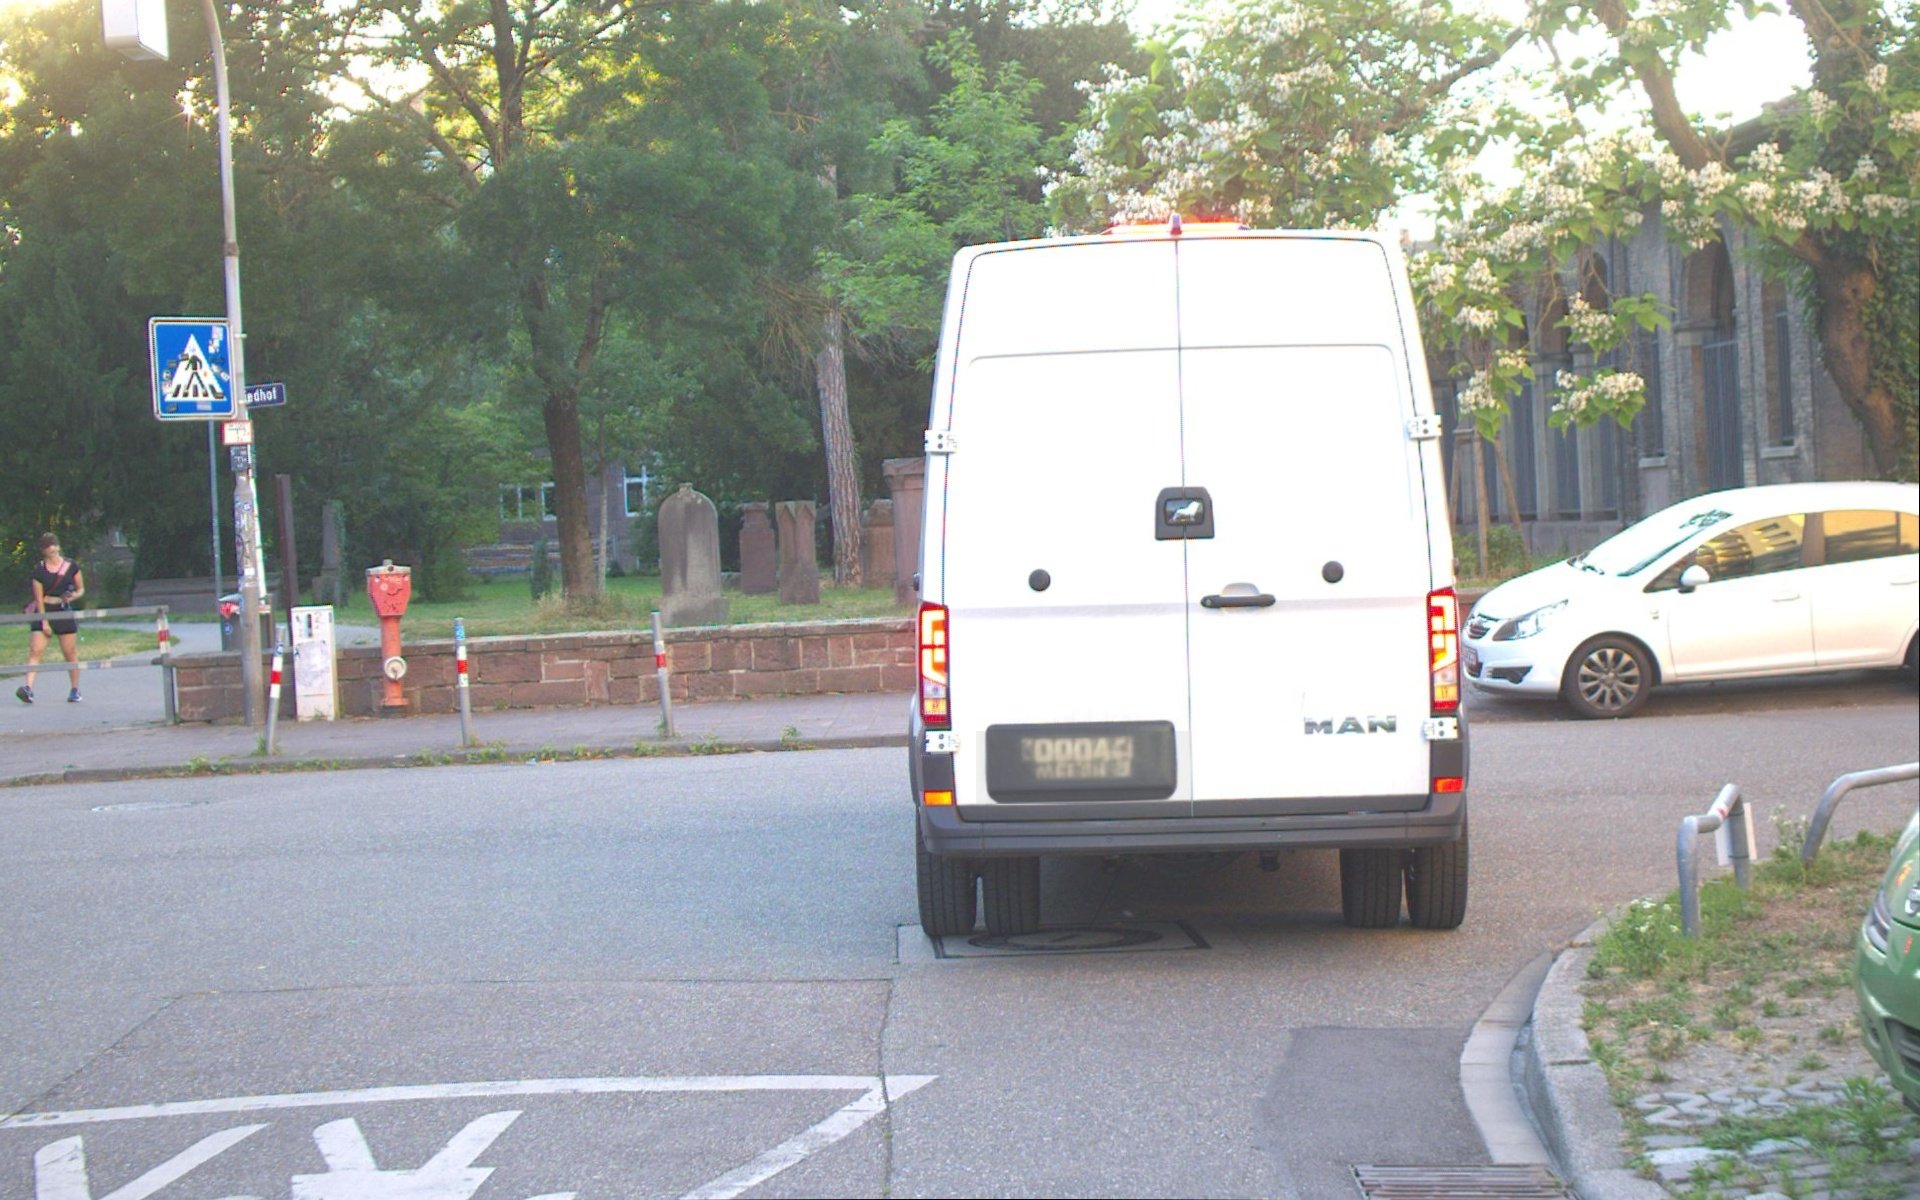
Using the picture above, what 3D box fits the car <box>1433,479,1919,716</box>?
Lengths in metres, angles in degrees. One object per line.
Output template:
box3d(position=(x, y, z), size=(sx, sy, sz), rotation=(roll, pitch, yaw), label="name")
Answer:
box3d(position=(5.600, -0.053, 25.275), size=(3.854, 1.568, 1.958), rotation=(-2, 1, -3), label="car")

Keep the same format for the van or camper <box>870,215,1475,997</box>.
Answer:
box3d(position=(0.823, -0.023, 14.841), size=(1.993, 2.609, 6.403), rotation=(-1, 1, 2), label="van or camper")

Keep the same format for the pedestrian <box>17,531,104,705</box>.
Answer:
box3d(position=(-8.645, 0.163, 33.055), size=(0.646, 1.643, 0.674), rotation=(-1, 1, -1), label="pedestrian")

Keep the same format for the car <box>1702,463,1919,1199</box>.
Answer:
box3d(position=(4.116, 0.408, 7.600), size=(4.403, 1.626, 1.846), rotation=(-4, -1, -3), label="car")
